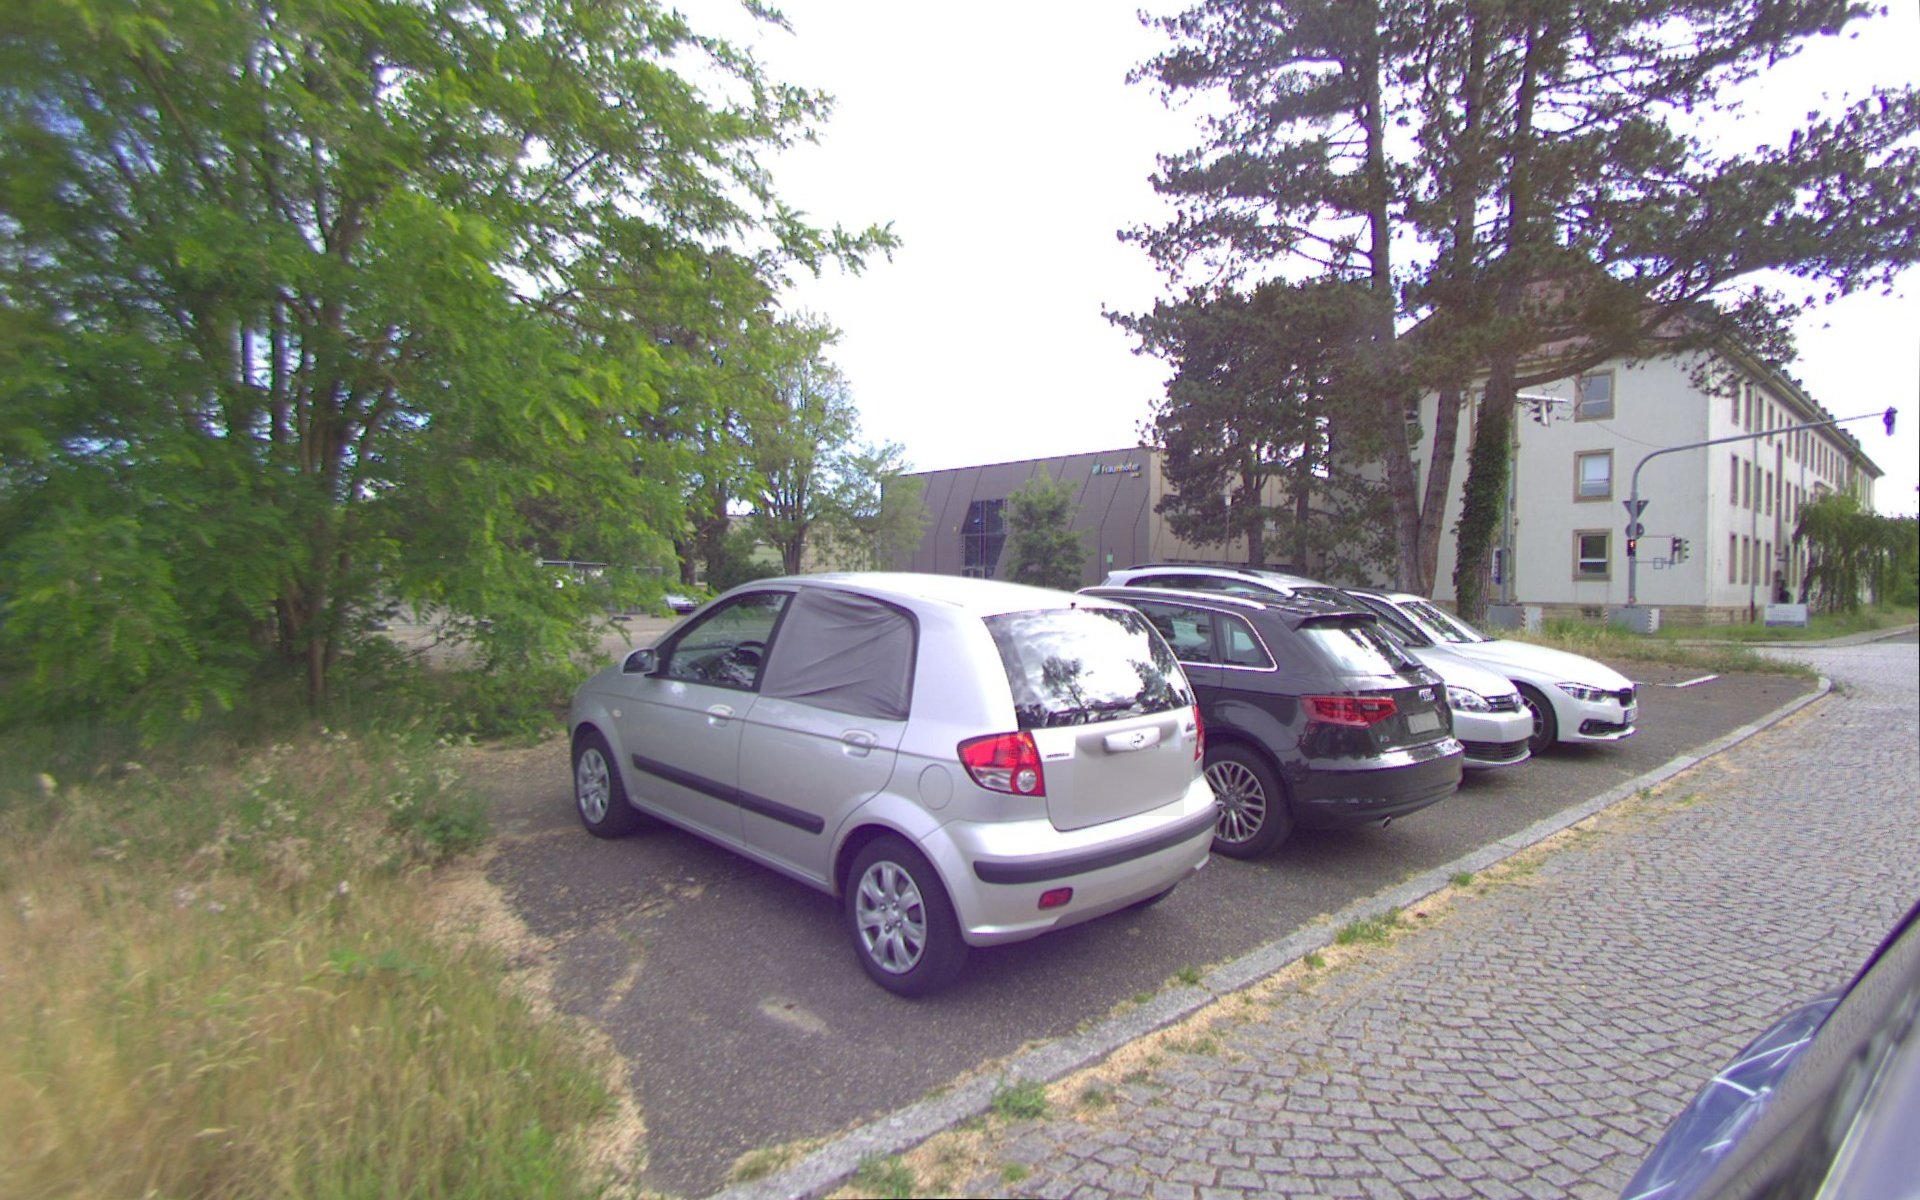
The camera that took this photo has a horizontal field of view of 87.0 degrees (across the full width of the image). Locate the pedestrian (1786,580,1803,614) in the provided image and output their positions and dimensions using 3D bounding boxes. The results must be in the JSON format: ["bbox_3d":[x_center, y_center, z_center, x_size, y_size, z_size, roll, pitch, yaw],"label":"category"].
[{"bbox_3d":[43.139,-0.144,52.294,0.522,1.722,0.568,1,0,-39],"label":"pedestrian"}]

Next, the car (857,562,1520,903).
[{"bbox_3d":[1.307,0.589,6.989,1.854,1.470,4.078,0,4,-44],"label":"car"}]

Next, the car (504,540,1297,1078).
[{"bbox_3d":[-0.640,0.558,5.172,1.775,1.533,4.078,0,4,-44],"label":"car"}]

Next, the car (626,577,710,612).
[{"bbox_3d":[-13.117,-0.261,45.336,1.941,1.501,3.989,0,1,-45],"label":"car"}]

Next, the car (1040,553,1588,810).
[{"bbox_3d":[2.969,0.496,9.137,4.243,1.615,1.855,6,4,44],"label":"car"}]

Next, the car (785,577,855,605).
[{"bbox_3d":[-9.497,-0.614,68.682,4.402,1.854,1.995,0,1,-44],"label":"car"}]

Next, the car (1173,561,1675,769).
[{"bbox_3d":[4.758,0.494,10.899,1.874,1.584,4.498,0,4,-44],"label":"car"}]
